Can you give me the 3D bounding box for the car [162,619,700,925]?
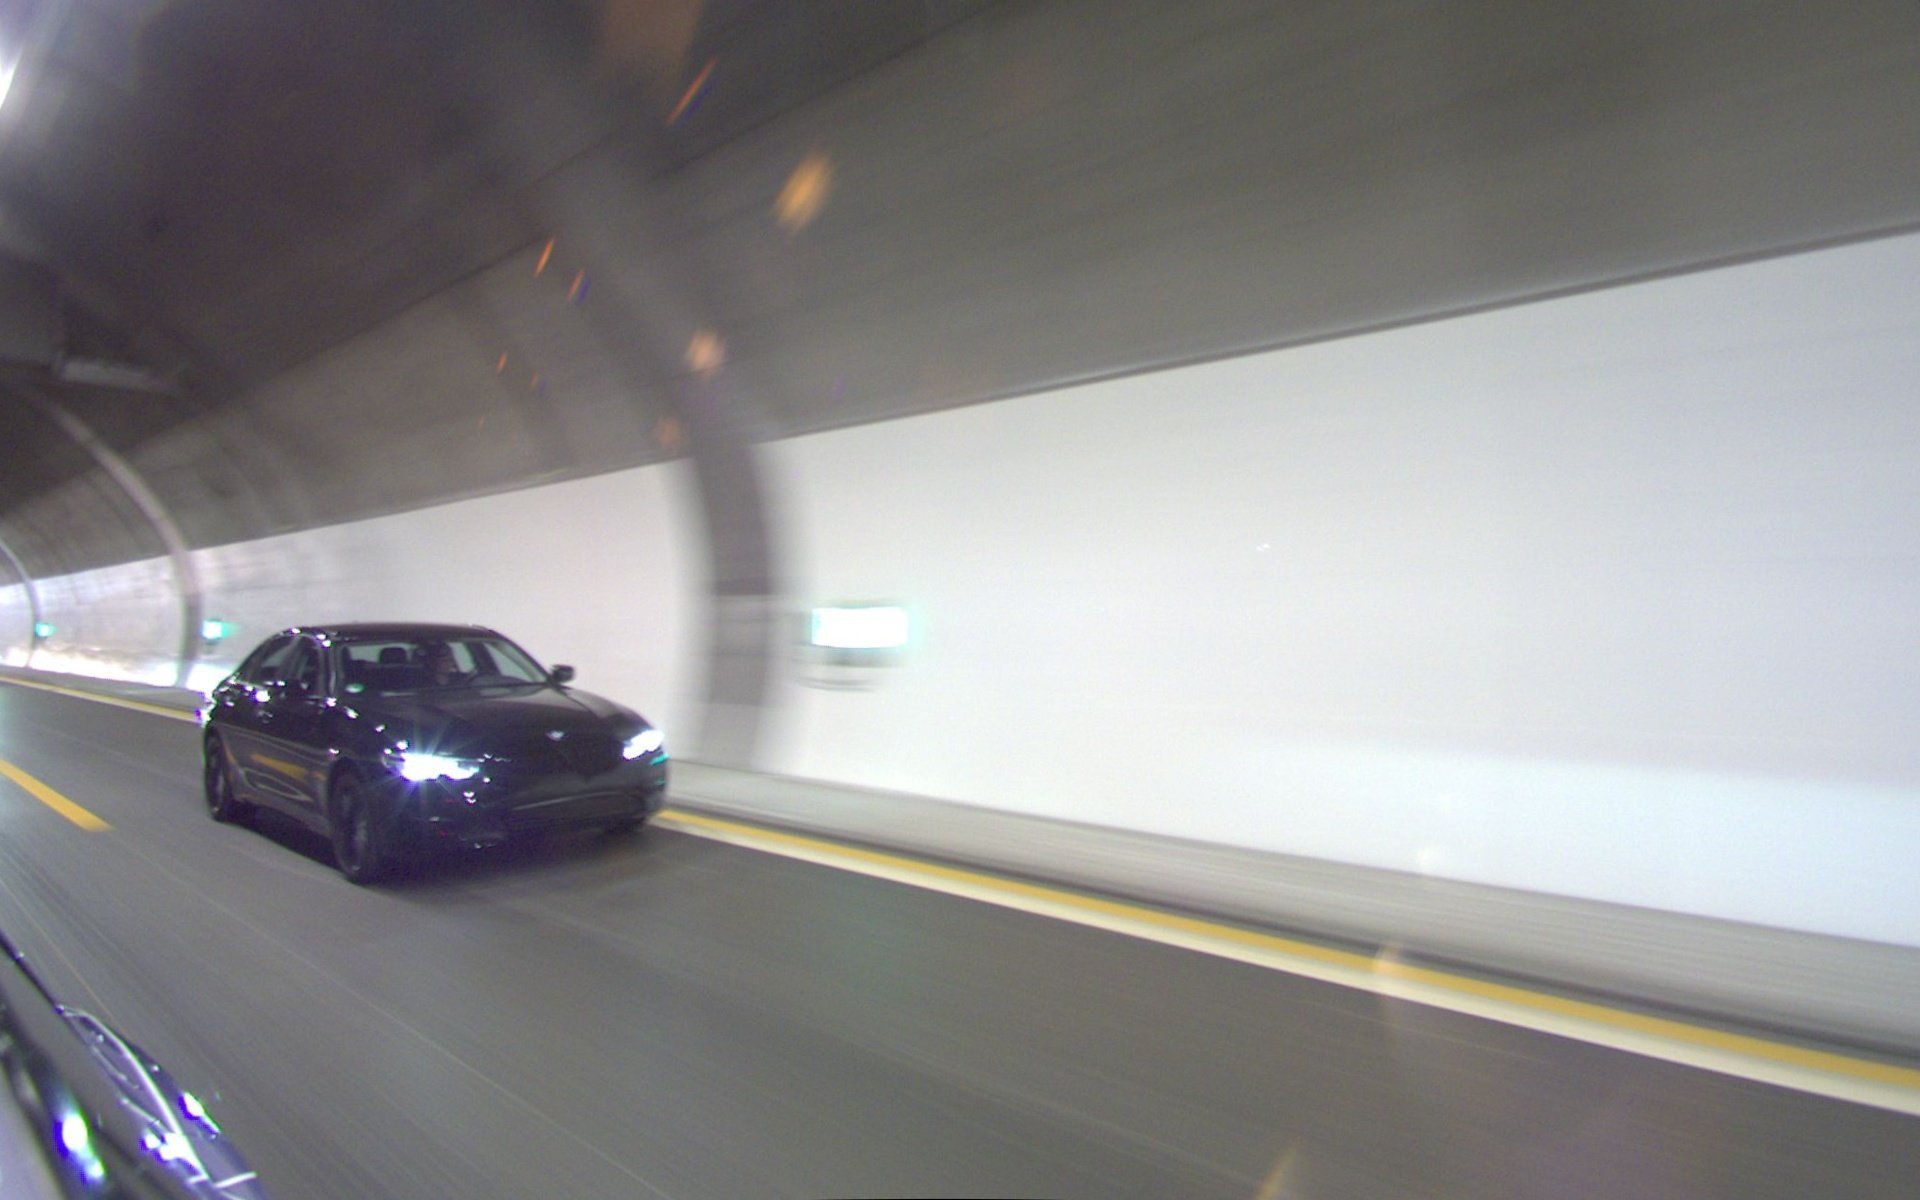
[{"bbox_3d":[-4.022,0.902,7.207,4.880,1.449,1.759,-2,-1,41],"label":"car"}]
